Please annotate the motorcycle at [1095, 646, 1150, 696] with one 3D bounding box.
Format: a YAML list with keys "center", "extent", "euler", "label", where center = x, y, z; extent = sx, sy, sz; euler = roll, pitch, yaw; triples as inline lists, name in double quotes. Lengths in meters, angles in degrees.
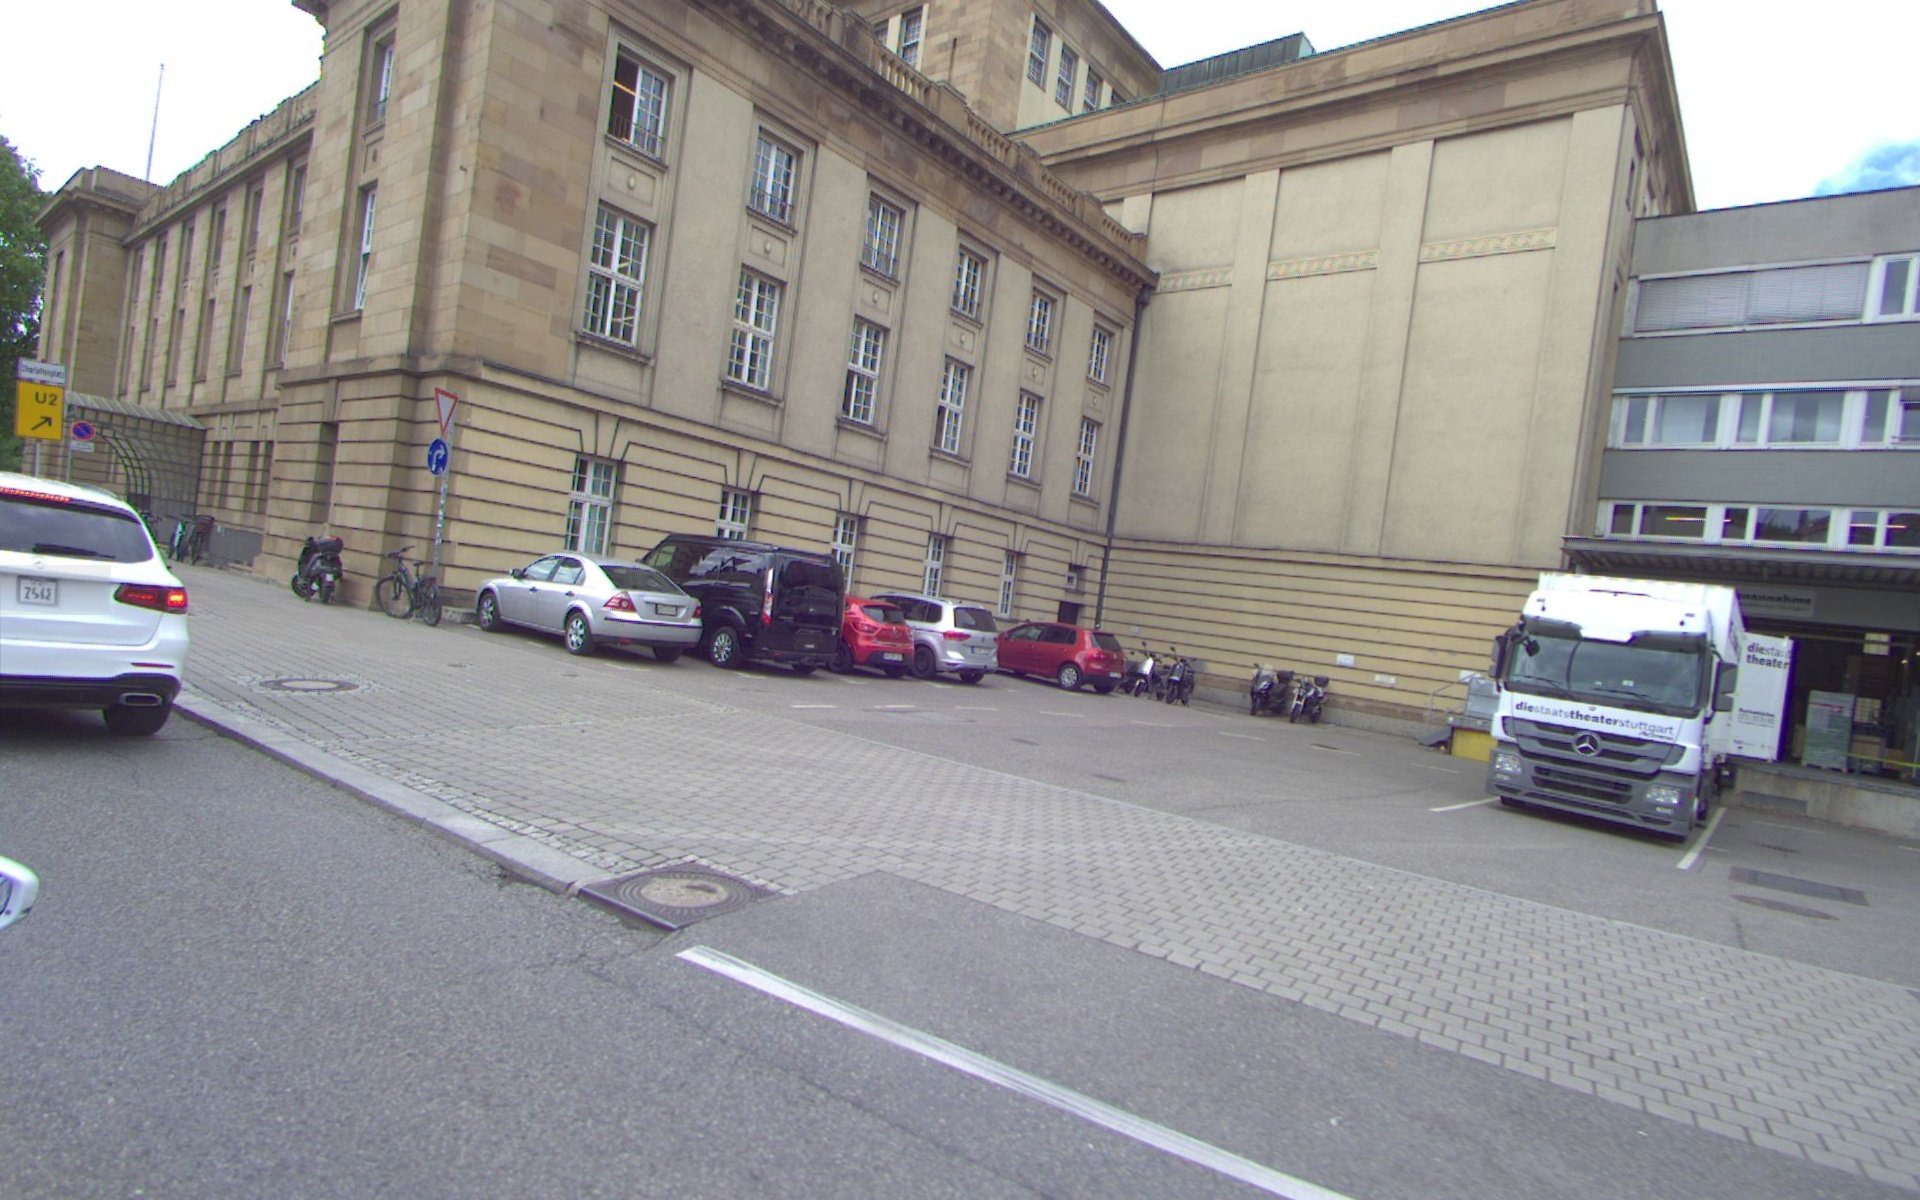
- center: [4.331, 1.899, 26.749]
  extent: [0.463, 1.118, 1.788]
  euler: [8, -3, 41]
  label: "motorcycle"

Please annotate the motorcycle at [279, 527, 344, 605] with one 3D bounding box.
- center: [-11.772, -0.630, 18.243]
  extent: [1.896, 1.258, 0.454]
  euler: [7, 1, 43]
  label: "motorcycle"

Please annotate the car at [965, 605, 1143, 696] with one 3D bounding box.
- center: [2.227, 1.199, 24.353]
  extent: [3.860, 1.552, 1.643]
  euler: [8, -1, 39]
  label: "car"

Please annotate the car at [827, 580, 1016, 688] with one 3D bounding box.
- center: [-0.855, 0.680, 21.022]
  extent: [3.563, 1.689, 1.643]
  euler: [8, -1, 39]
  label: "car"

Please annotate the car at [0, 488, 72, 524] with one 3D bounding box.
- center: [-56.228, -5.694, 60.539]
  extent: [1.655, 1.587, 3.834]
  euler: [7, -1, 40]
  label: "car"

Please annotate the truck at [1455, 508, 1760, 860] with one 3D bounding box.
- center: [11.639, 1.399, 17.357]
  extent: [2.955, 4.257, 10.346]
  euler: [8, 0, 39]
  label: "truck"

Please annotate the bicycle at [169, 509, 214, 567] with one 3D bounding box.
- center: [-19.200, -1.565, 25.124]
  extent: [1.764, 1.304, 0.412]
  euler: [7, 0, 40]
  label: "bicycle"

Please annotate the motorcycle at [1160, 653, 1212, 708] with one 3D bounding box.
- center: [5.655, 2.031, 25.158]
  extent: [0.418, 1.186, 1.603]
  euler: [8, -3, 41]
  label: "motorcycle"

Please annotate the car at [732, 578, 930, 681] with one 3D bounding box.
- center: [-2.552, 0.555, 19.527]
  extent: [3.563, 1.429, 1.643]
  euler: [8, -1, 39]
  label: "car"

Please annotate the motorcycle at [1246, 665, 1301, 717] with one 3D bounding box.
- center: [8.889, 2.591, 28.484]
  extent: [0.551, 1.337, 2.081]
  euler: [8, 0, 41]
  label: "motorcycle"

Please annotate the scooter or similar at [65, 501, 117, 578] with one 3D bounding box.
- center: [-15.716, -1.101, 18.182]
  extent: [1.383, 1.277, 0.379]
  euler: [7, 0, 40]
  label: "scooter or similar"

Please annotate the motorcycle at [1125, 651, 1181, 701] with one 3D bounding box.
- center: [5.017, 1.983, 26.036]
  extent: [0.463, 1.104, 1.788]
  euler: [8, -3, 41]
  label: "motorcycle"

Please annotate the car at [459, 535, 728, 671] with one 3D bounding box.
- center: [-5.879, -0.003, 15.870]
  extent: [4.506, 1.486, 1.778]
  euler: [8, -1, 39]
  label: "car"

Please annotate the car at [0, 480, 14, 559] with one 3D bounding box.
- center: [-21.203, -1.841, 21.000]
  extent: [3.653, 1.572, 1.543]
  euler: [7, 2, 38]
  label: "car"

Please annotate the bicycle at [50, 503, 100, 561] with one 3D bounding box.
- center: [-20.188, -1.570, 22.937]
  extent: [1.804, 1.170, 0.459]
  euler: [7, 0, 39]
  label: "bicycle"

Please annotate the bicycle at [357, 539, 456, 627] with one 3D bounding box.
- center: [-9.030, -0.288, 16.365]
  extent: [1.932, 1.241, 0.608]
  euler: [7, 3, 37]
  label: "bicycle"

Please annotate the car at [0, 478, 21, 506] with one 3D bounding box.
- center: [-65.320, -7.440, 68.386]
  extent: [3.969, 1.571, 1.758]
  euler: [10, 1, 41]
  label: "car"

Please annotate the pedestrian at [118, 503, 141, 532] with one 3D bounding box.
- center: [-27.345, -2.726, 33.131]
  extent: [0.368, 0.883, 0.429]
  euler: [7, -2, 41]
  label: "pedestrian"

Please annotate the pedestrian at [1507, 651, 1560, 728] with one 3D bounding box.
- center: [13.825, 2.154, 24.249]
  extent: [0.620, 1.713, 0.689]
  euler: [9, -2, -24]
  label: "pedestrian"

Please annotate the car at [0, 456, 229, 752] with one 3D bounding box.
- center: [-7.078, -0.167, 6.986]
  extent: [4.368, 1.643, 1.791]
  euler: [7, -3, 36]
  label: "car"

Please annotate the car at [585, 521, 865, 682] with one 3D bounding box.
- center: [-4.196, -0.031, 17.522]
  extent: [4.843, 2.093, 1.948]
  euler: [8, -1, 39]
  label: "car"

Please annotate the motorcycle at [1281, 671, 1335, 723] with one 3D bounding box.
- center: [9.604, 2.700, 27.716]
  extent: [0.551, 1.304, 2.081]
  euler: [8, 0, 41]
  label: "motorcycle"

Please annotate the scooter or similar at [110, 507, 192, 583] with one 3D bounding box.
- center: [-15.110, -1.023, 18.779]
  extent: [1.344, 1.268, 0.452]
  euler: [6, 0, 19]
  label: "scooter or similar"
